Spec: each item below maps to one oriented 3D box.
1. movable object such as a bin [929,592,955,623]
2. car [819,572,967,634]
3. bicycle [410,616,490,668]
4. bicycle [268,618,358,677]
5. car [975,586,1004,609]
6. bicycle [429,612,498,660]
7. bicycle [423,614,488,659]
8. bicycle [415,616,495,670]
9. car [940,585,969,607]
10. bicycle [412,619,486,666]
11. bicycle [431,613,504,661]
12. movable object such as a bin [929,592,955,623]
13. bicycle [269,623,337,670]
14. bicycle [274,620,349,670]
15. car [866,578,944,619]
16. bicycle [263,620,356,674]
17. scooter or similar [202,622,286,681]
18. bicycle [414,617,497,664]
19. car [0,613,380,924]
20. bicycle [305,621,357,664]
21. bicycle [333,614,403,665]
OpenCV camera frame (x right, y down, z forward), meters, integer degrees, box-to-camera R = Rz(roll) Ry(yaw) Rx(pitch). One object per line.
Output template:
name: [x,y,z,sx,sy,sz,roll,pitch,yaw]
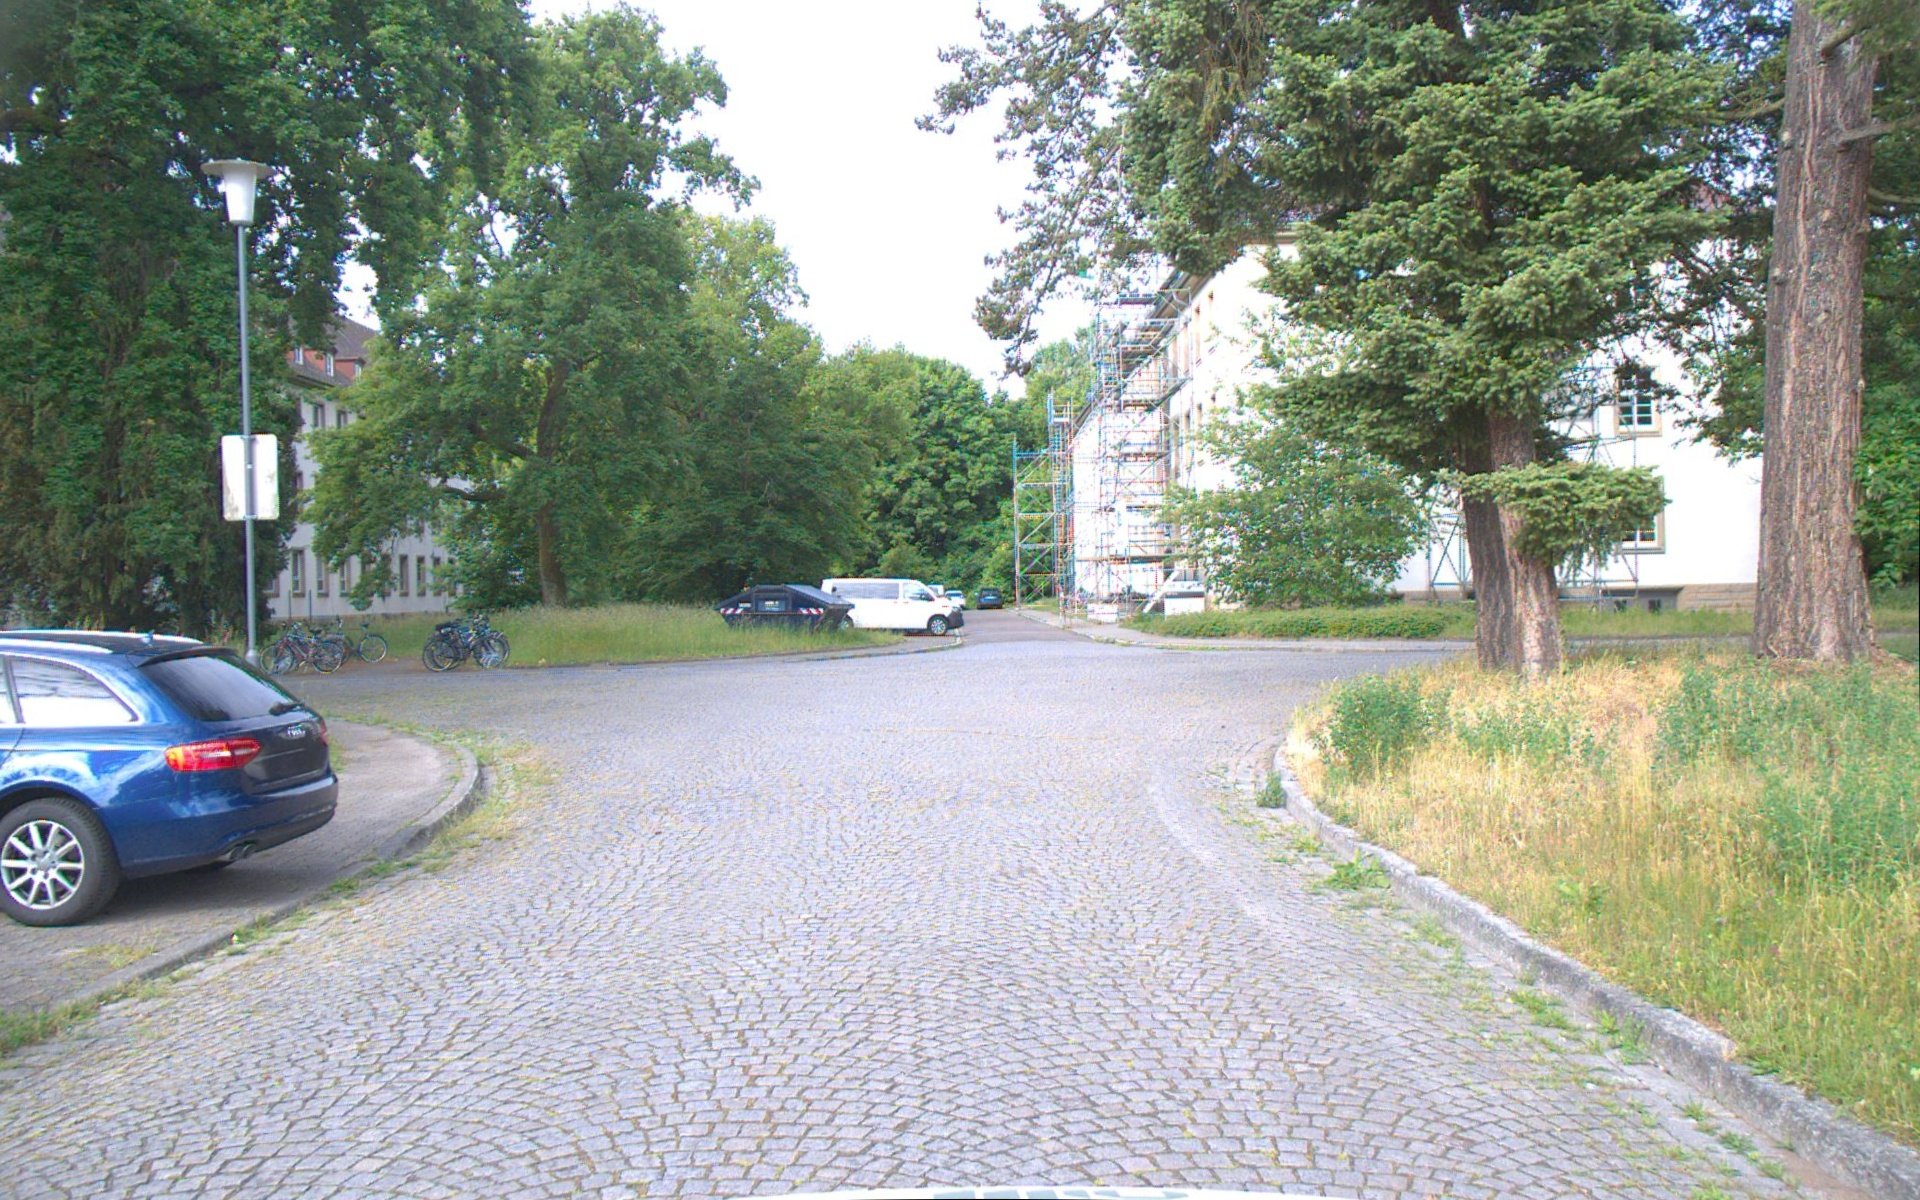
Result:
movable object such as a bin: [-0.841,0.349,77.835,1.159,1.432,0.975,1,-1,0]
car: [-2.344,0.107,58.182,5.095,2.096,2.187,0,0,-2]
bicycle: [-12.255,0.999,39.736,1.767,1.122,0.699,-3,3,-20]
bicycle: [-14.774,1.070,37.834,1.867,1.244,0.640,-1,2,-20]
car: [2.240,-0.156,124.512,2.020,1.621,4.001,1,0,2]
bicycle: [-13.058,0.942,43.535,1.671,1.135,0.538,-3,3,-20]
bicycle: [-13.410,0.964,43.985,1.592,1.077,0.524,-3,3,-20]
bicycle: [-11.912,1.012,39.043,1.742,1.122,0.699,-3,3,-20]
car: [-0.462,-0.281,124.263,1.961,1.575,3.956,1,0,-3]
bicycle: [-12.489,1.024,40.423,1.666,1.019,0.629,-3,3,-20]
bicycle: [-12.814,0.957,43.052,1.745,1.124,0.538,-3,3,-20]
movable object such as a bin: [-0.822,0.351,76.680,1.159,1.432,0.975,1,-1,0]
bicycle: [-16.331,1.144,41.105,1.496,1.053,0.540,-2,3,-31]
bicycle: [-15.629,1.081,39.852,1.608,1.092,0.534,-2,3,-31]
car: [-2.854,-0.075,85.677,3.909,2.049,1.920,1,-1,-5]
bicycle: [-15.098,1.084,38.435,1.955,1.133,0.640,-2,2,-20]
scooter or similar: [-16.049,1.152,37.090,1.515,1.215,0.682,-2,1,3]
bicycle: [-12.584,0.991,41.258,1.925,1.022,0.682,-3,3,-20]
car: [-5.690,0.877,9.135,4.340,1.505,1.682,-1,1,1]
bicycle: [-16.640,1.127,43.764,1.240,1.047,0.431,-3,-2,-20]
bicycle: [-15.207,0.998,42.488,1.619,1.206,0.569,-2,2,-26]
